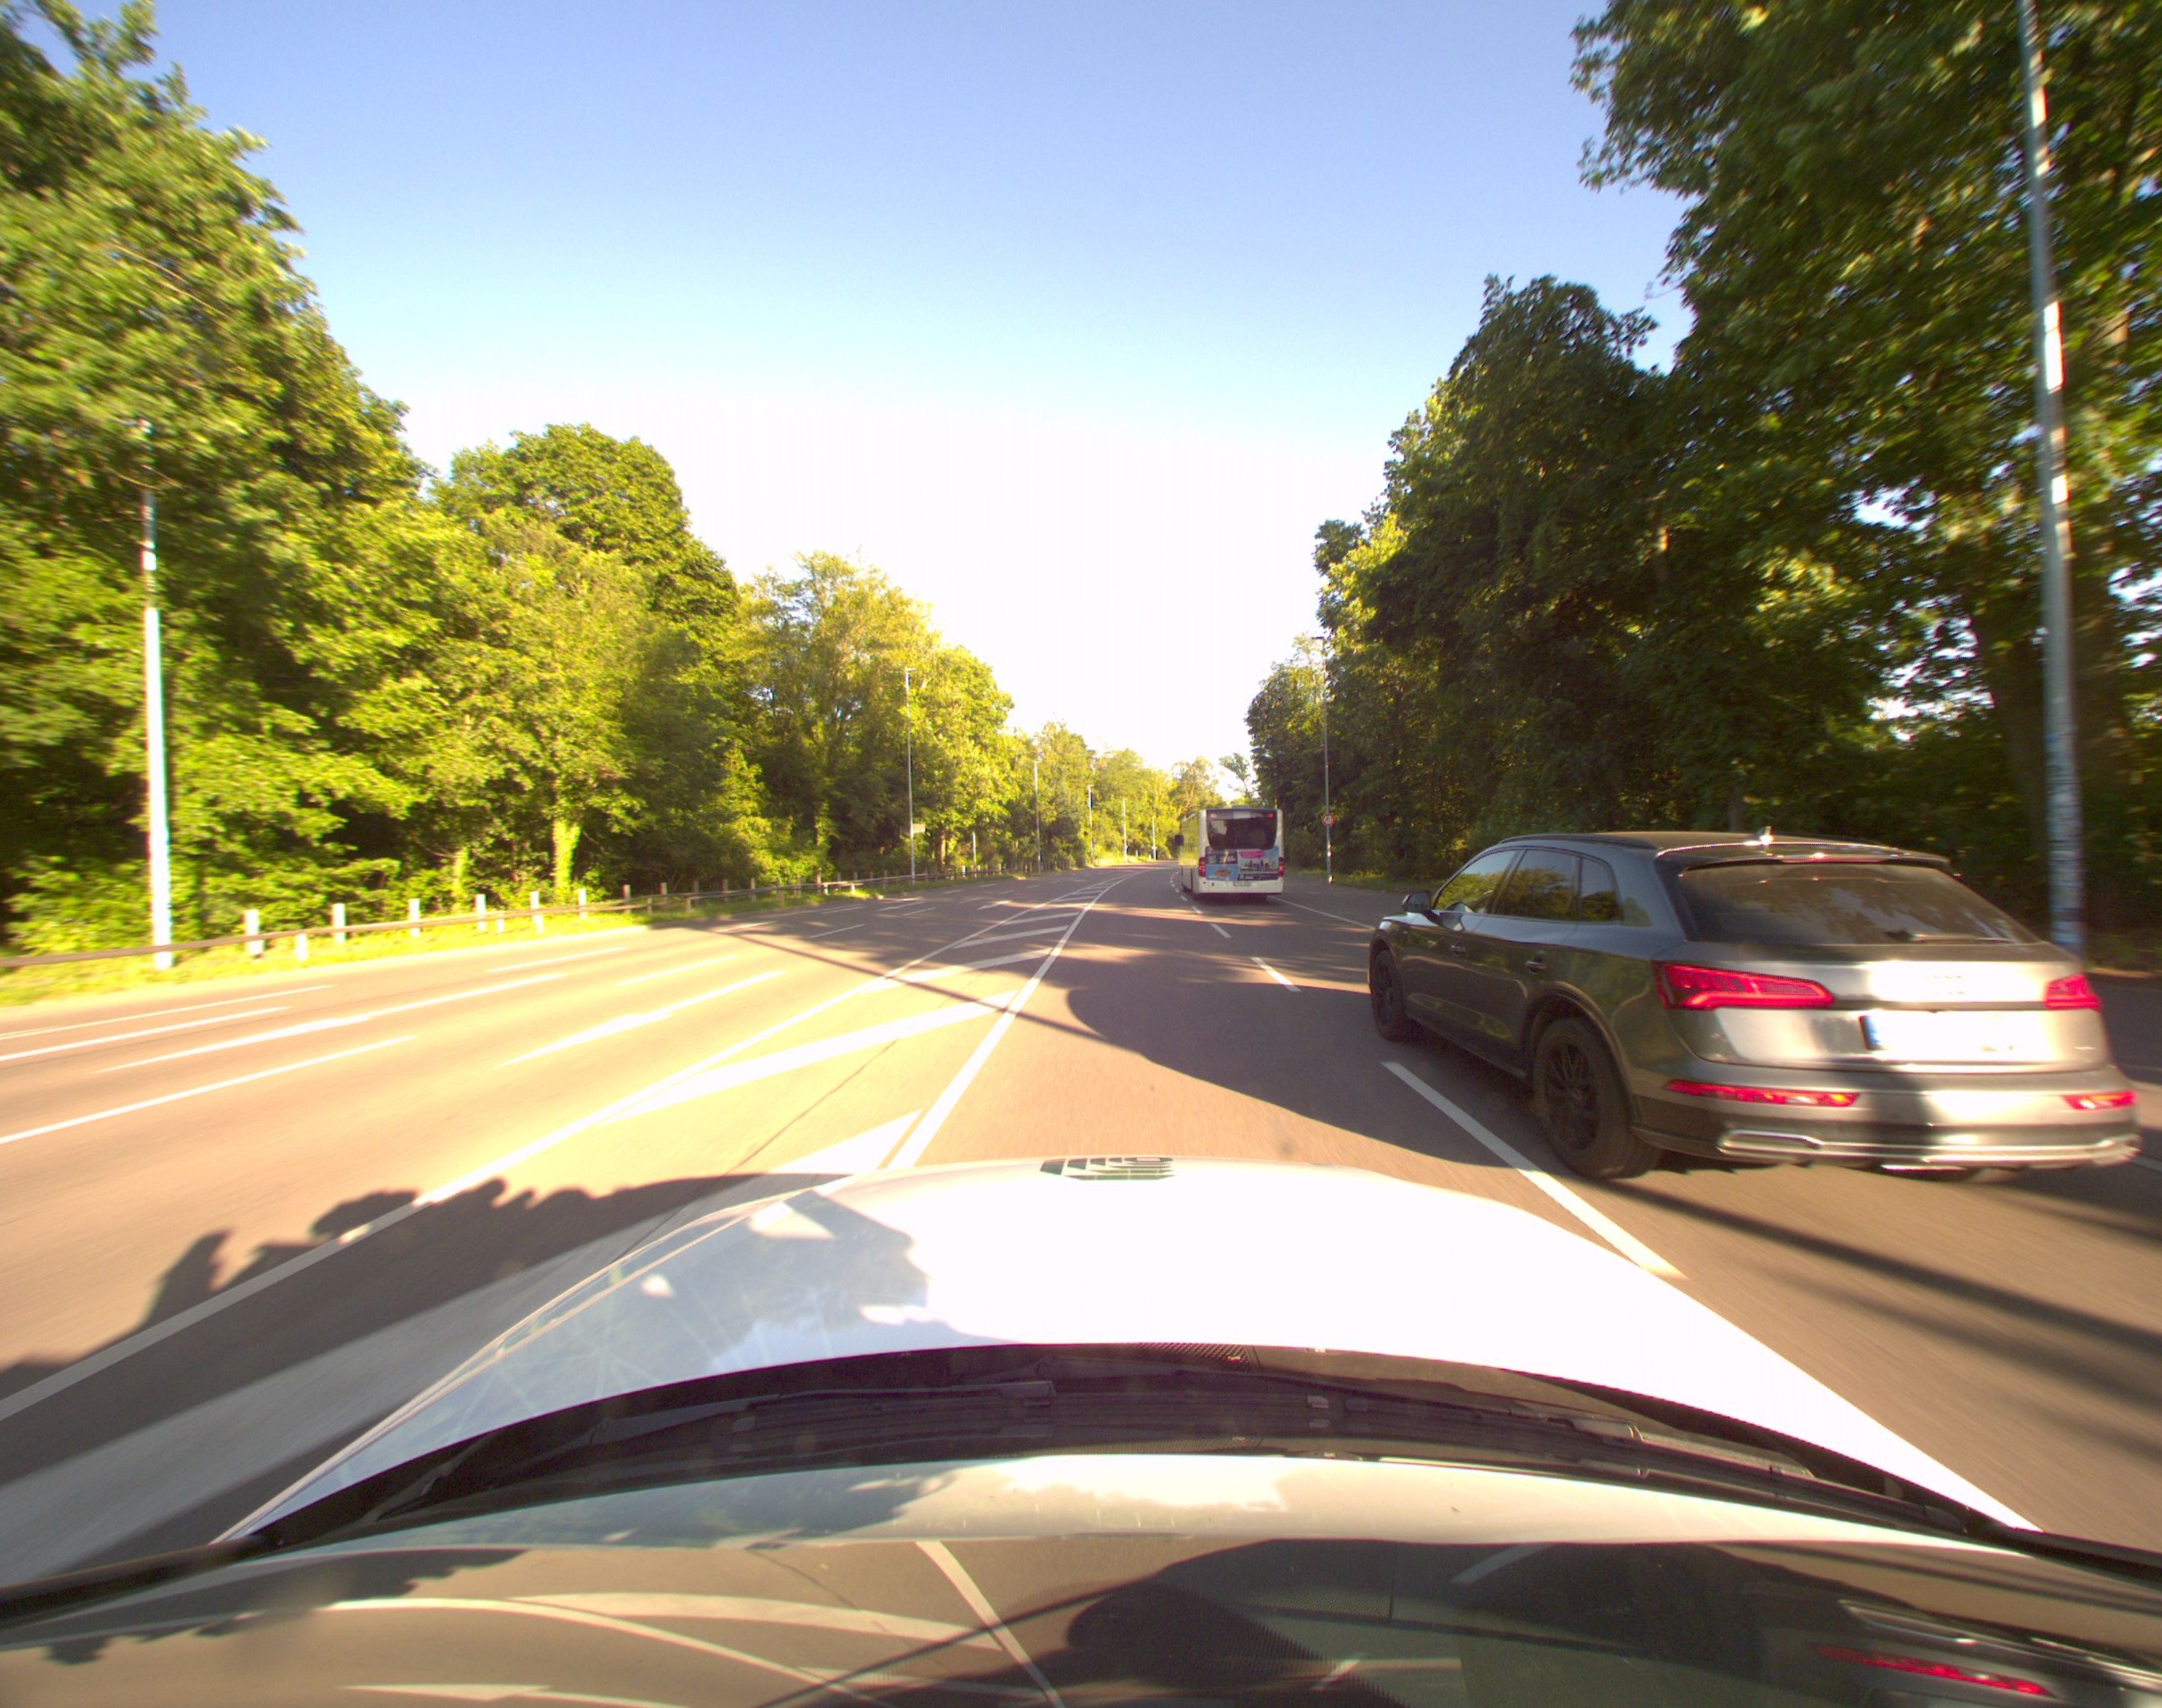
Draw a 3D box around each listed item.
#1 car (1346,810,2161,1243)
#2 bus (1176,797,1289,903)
[{"bbox_3d":[3.302,0.639,5.319,1.885,1.605,4.548,0,0,3],"label":"car"},{"bbox_3d":[5.104,-0.098,29.651,2.677,3.042,12.054,0,0,4],"label":"bus"}]
